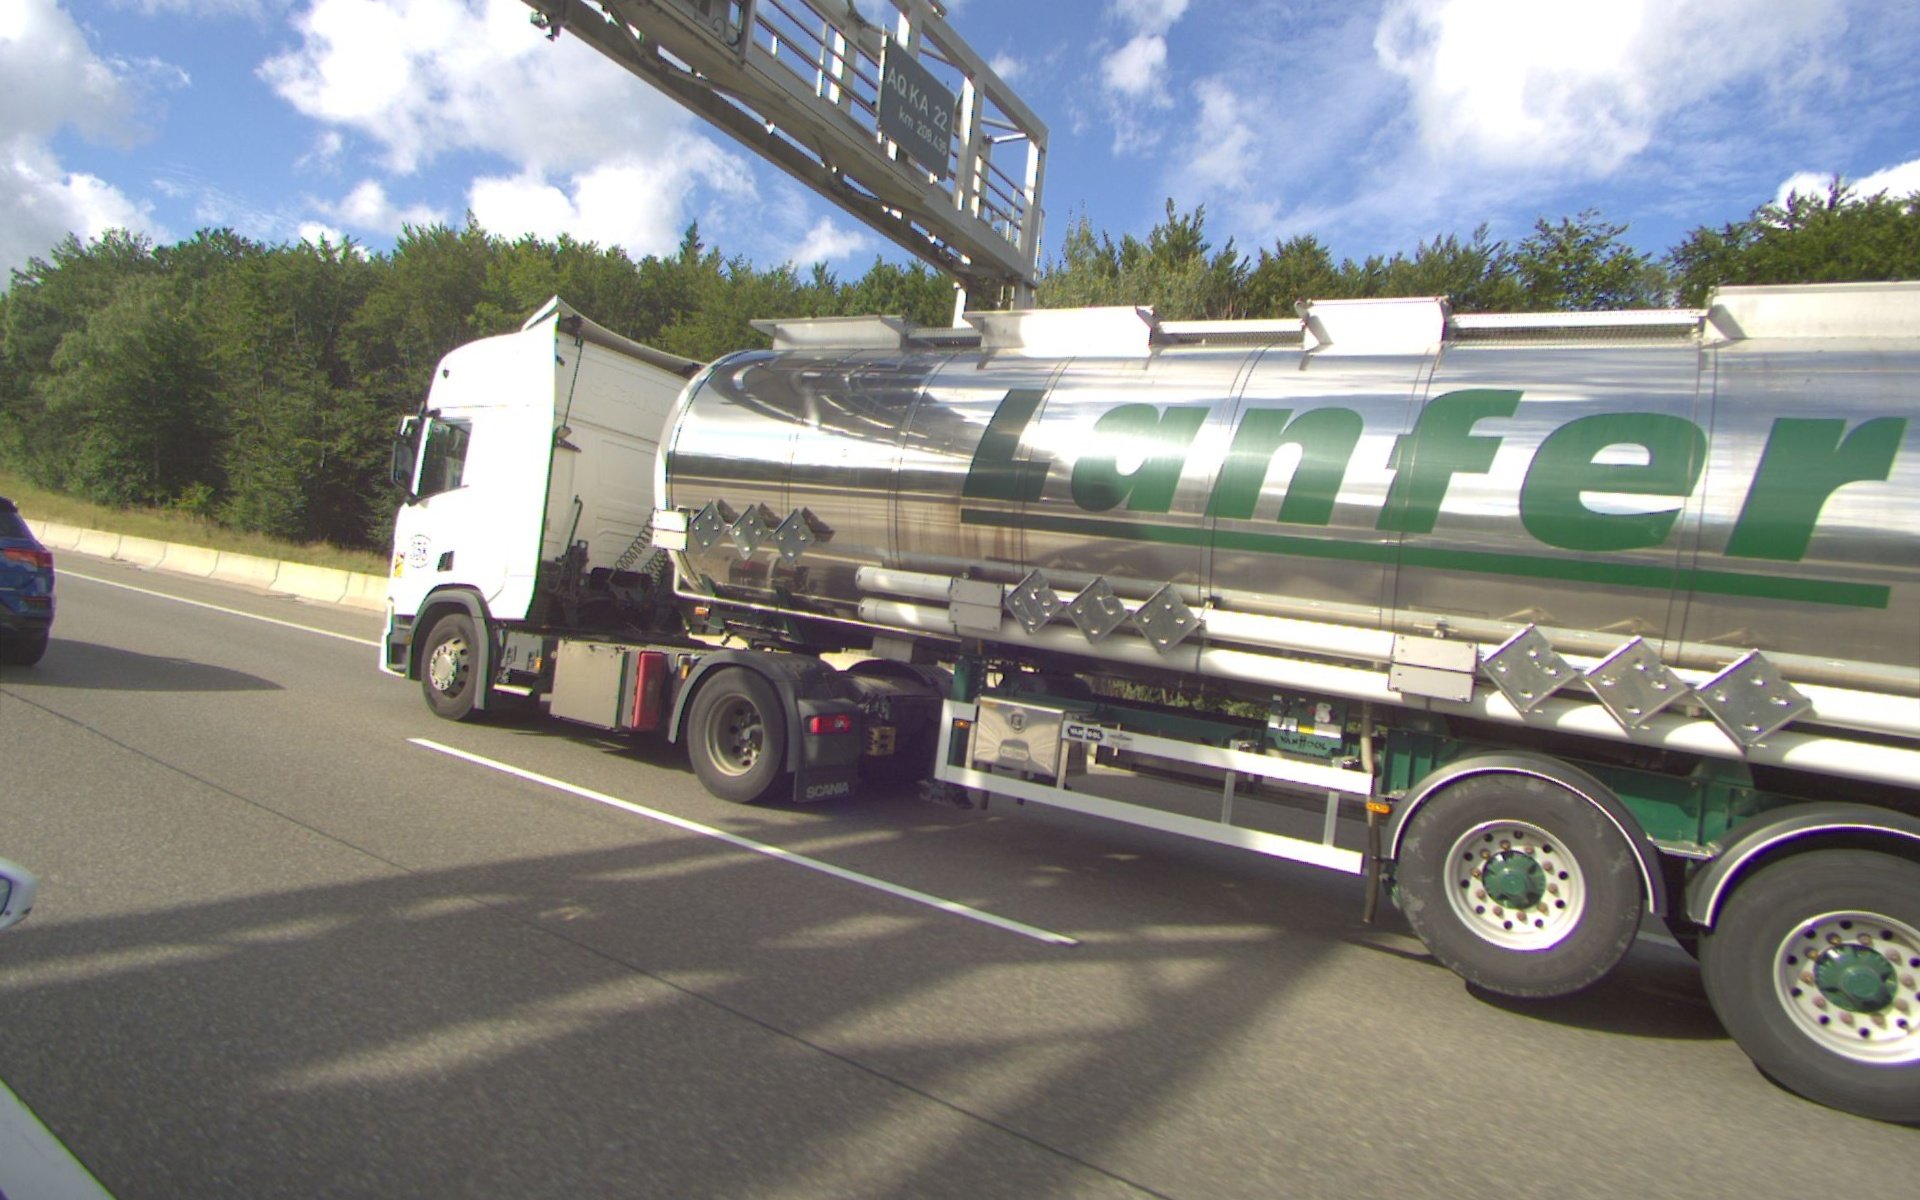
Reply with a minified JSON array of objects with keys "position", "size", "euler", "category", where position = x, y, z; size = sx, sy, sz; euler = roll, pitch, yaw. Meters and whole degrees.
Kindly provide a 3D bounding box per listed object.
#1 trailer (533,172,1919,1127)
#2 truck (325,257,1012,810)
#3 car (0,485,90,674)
[{"position":[2.308,0.001,6.502],"size":[11.660,3.813,2.653],"euler":[7,0,31],"category":"trailer"},{"position":[-2.951,-0.658,9.687],"size":[5.980,3.870,2.652],"euler":[7,0,31],"category":"truck"},{"position":[-10.001,-0.430,9.087],"size":[4.381,1.548,1.777],"euler":[7,-1,30],"category":"car"}]
